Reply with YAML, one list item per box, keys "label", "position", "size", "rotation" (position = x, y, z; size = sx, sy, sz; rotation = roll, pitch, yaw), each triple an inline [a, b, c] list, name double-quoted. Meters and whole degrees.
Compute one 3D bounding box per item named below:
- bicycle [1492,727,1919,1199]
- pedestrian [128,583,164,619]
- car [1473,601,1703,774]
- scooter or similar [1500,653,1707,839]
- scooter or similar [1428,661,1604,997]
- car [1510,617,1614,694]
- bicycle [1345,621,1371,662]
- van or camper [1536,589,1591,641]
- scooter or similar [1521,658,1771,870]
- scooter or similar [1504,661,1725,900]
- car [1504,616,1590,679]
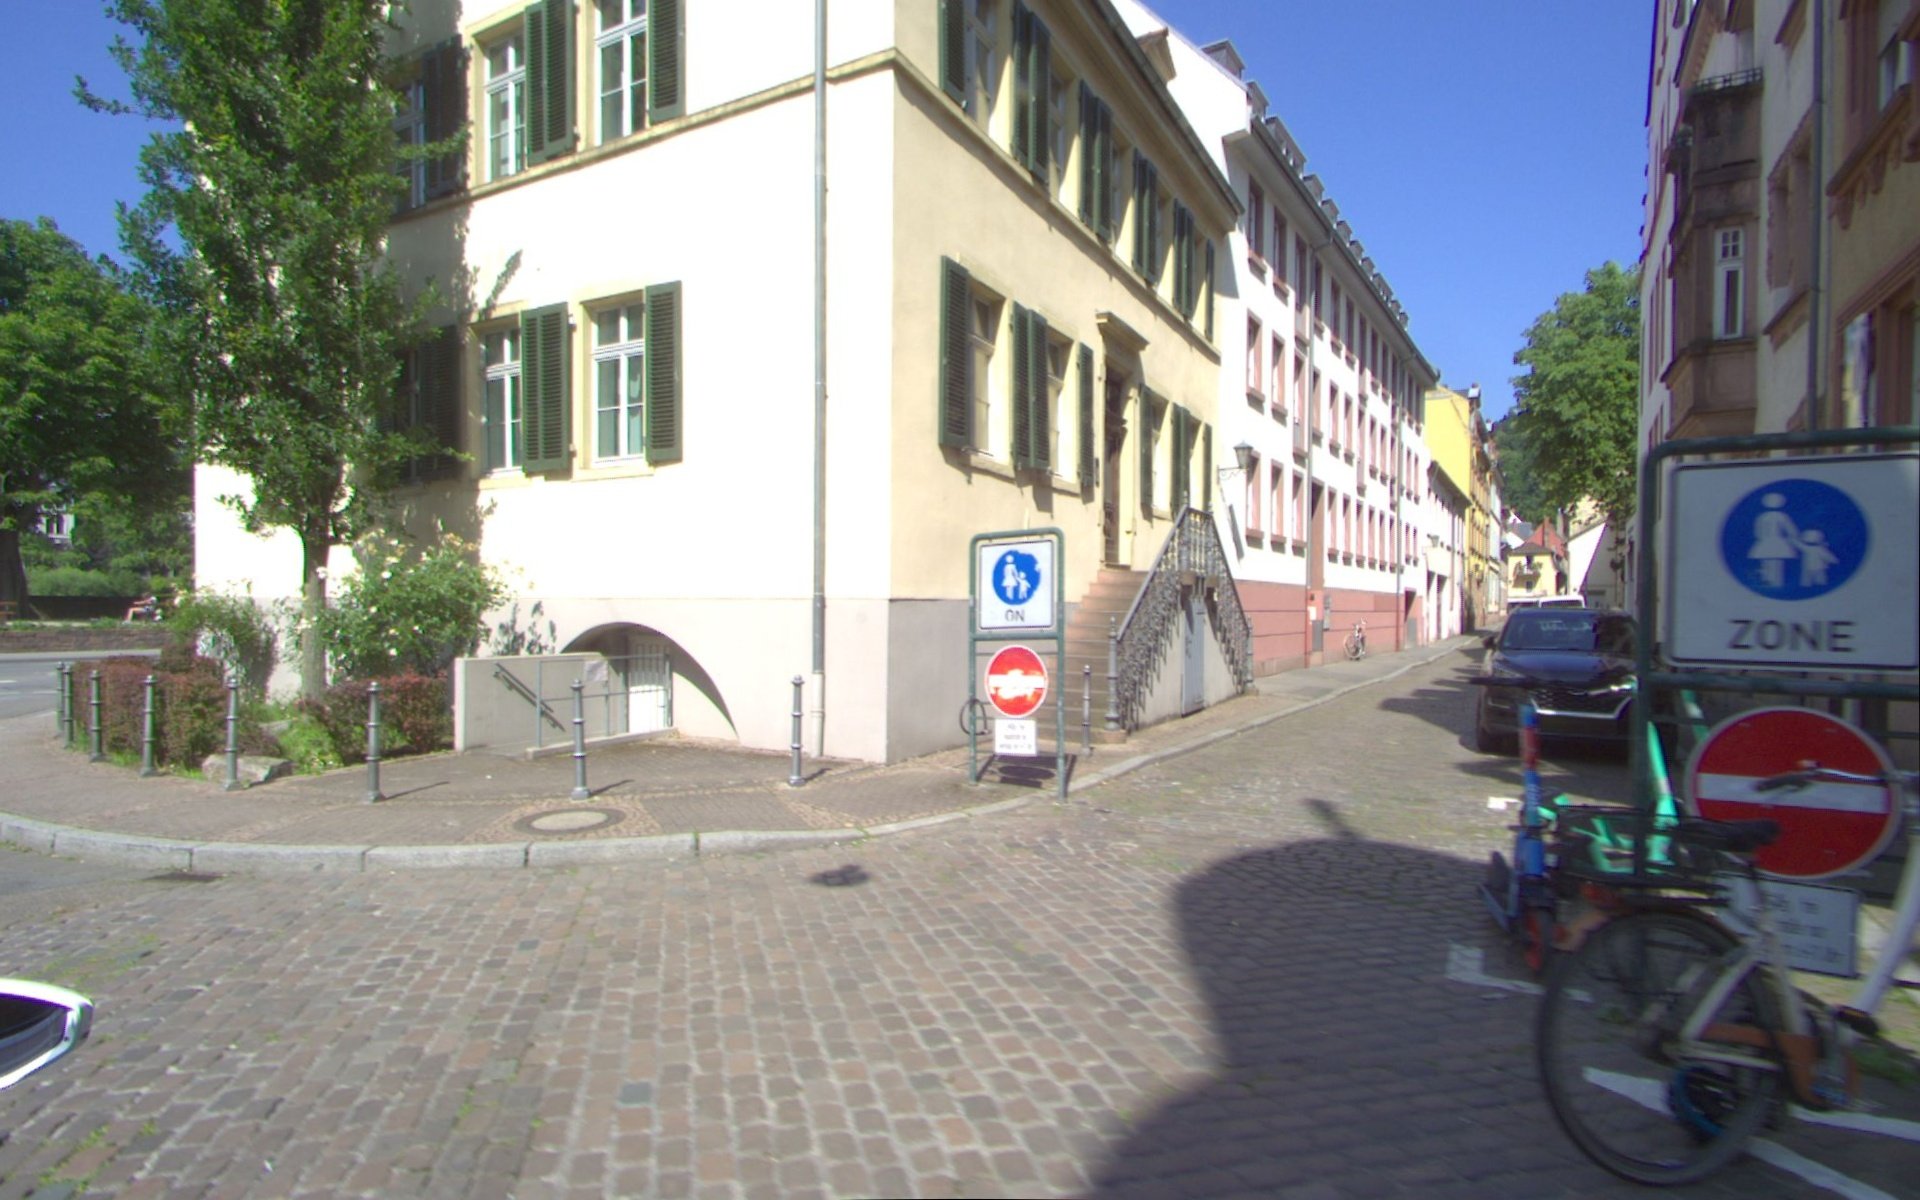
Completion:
- label: "bicycle"
  position: [2.404, 0.959, 2.671]
  size: [1.759, 1.161, 0.505]
  rotation: [0, 1, -6]
- label: "pedestrian"
  position: [-29.315, 0.058, 36.055]
  size: [0.705, 1.225, 0.797]
  rotation: [-3, -4, 31]
- label: "car"
  position: [7.191, 0.877, 11.865]
  size: [1.969, 1.664, 3.985]
  rotation: [0, -1, 28]
- label: "scooter or similar"
  position: [4.429, 0.990, 6.928]
  size: [1.167, 1.225, 0.342]
  rotation: [0, 0, 5]
- label: "scooter or similar"
  position: [2.474, 0.937, 4.557]
  size: [0.434, 1.251, 1.189]
  rotation: [0, 0, 16]
- label: "car"
  position: [12.263, 1.067, 20.500]
  size: [1.686, 1.414, 3.319]
  rotation: [0, -1, 30]
- label: "bicycle"
  position: [12.006, 1.232, 30.216]
  size: [0.450, 1.198, 1.438]
  rotation: [0, 0, 33]
- label: "van or camper"
  position: [29.176, 0.724, 48.525]
  size: [2.153, 2.352, 5.336]
  rotation: [0, -1, 30]
- label: "scooter or similar"
  position: [4.254, 0.993, 6.270]
  size: [1.211, 1.225, 0.413]
  rotation: [0, 0, 11]
- label: "scooter or similar"
  position: [3.642, 0.967, 5.572]
  size: [1.169, 1.225, 0.341]
  rotation: [0, 0, -16]
- label: "car"
  position: [14.251, 1.104, 24.363]
  size: [1.686, 1.414, 3.319]
  rotation: [0, -1, 30]
